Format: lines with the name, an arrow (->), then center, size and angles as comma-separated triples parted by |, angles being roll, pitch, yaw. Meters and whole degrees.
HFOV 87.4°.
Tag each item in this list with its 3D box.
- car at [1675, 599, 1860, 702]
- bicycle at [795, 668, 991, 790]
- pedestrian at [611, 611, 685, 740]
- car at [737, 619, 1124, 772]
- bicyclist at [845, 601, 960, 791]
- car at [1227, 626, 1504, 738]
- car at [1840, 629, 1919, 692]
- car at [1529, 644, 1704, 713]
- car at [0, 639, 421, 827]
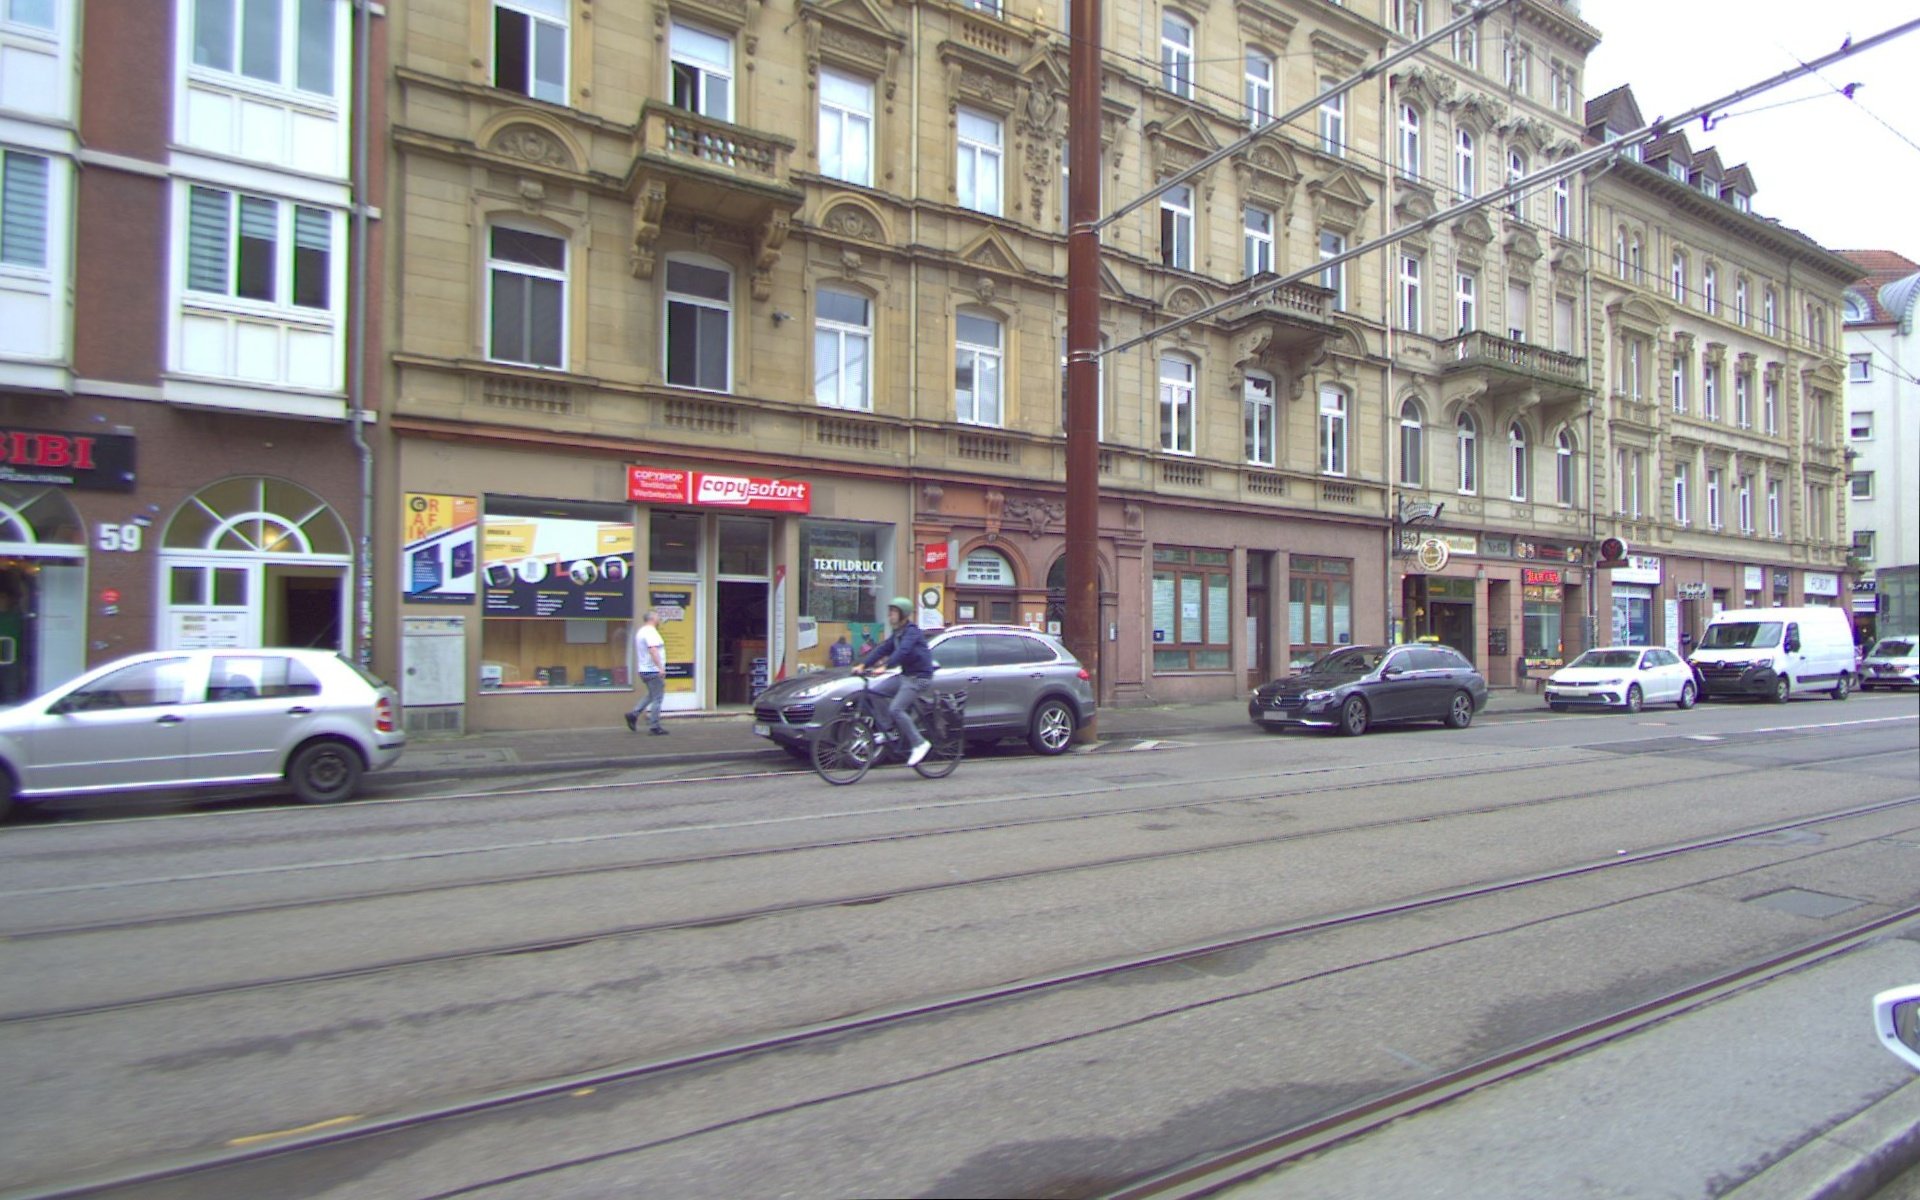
car -> 21.735, 1.388, 26.972 | 5.603, 2.518, 2.043 | 2, -5, -32
bicycle -> -0.688, 1.316, 10.629 | 2.020, 1.189, 0.582 | 2, -4, -29
pedestrian -> -4.475, 1.067, 14.442 | 0.769, 1.806, 0.655 | 1, -1, 6
car -> -0.276, 1.169, 13.408 | 4.979, 1.712, 1.803 | 2, -3, -34
bicyclist -> -0.608, 0.988, 10.653 | 1.016, 1.908, 0.642 | 2, -1, -29
car -> 7.168, 1.397, 17.602 | 4.997, 1.711, 1.909 | 2, -5, -32
car -> 30.420, 1.947, 32.363 | 4.471, 1.888, 1.893 | 2, -4, -32
car -> 15.023, 1.768, 22.950 | 4.119, 1.441, 1.762 | 2, -5, -32
car -> -7.273, 1.132, 9.357 | 3.876, 1.507, 1.735 | 1, -3, -32
